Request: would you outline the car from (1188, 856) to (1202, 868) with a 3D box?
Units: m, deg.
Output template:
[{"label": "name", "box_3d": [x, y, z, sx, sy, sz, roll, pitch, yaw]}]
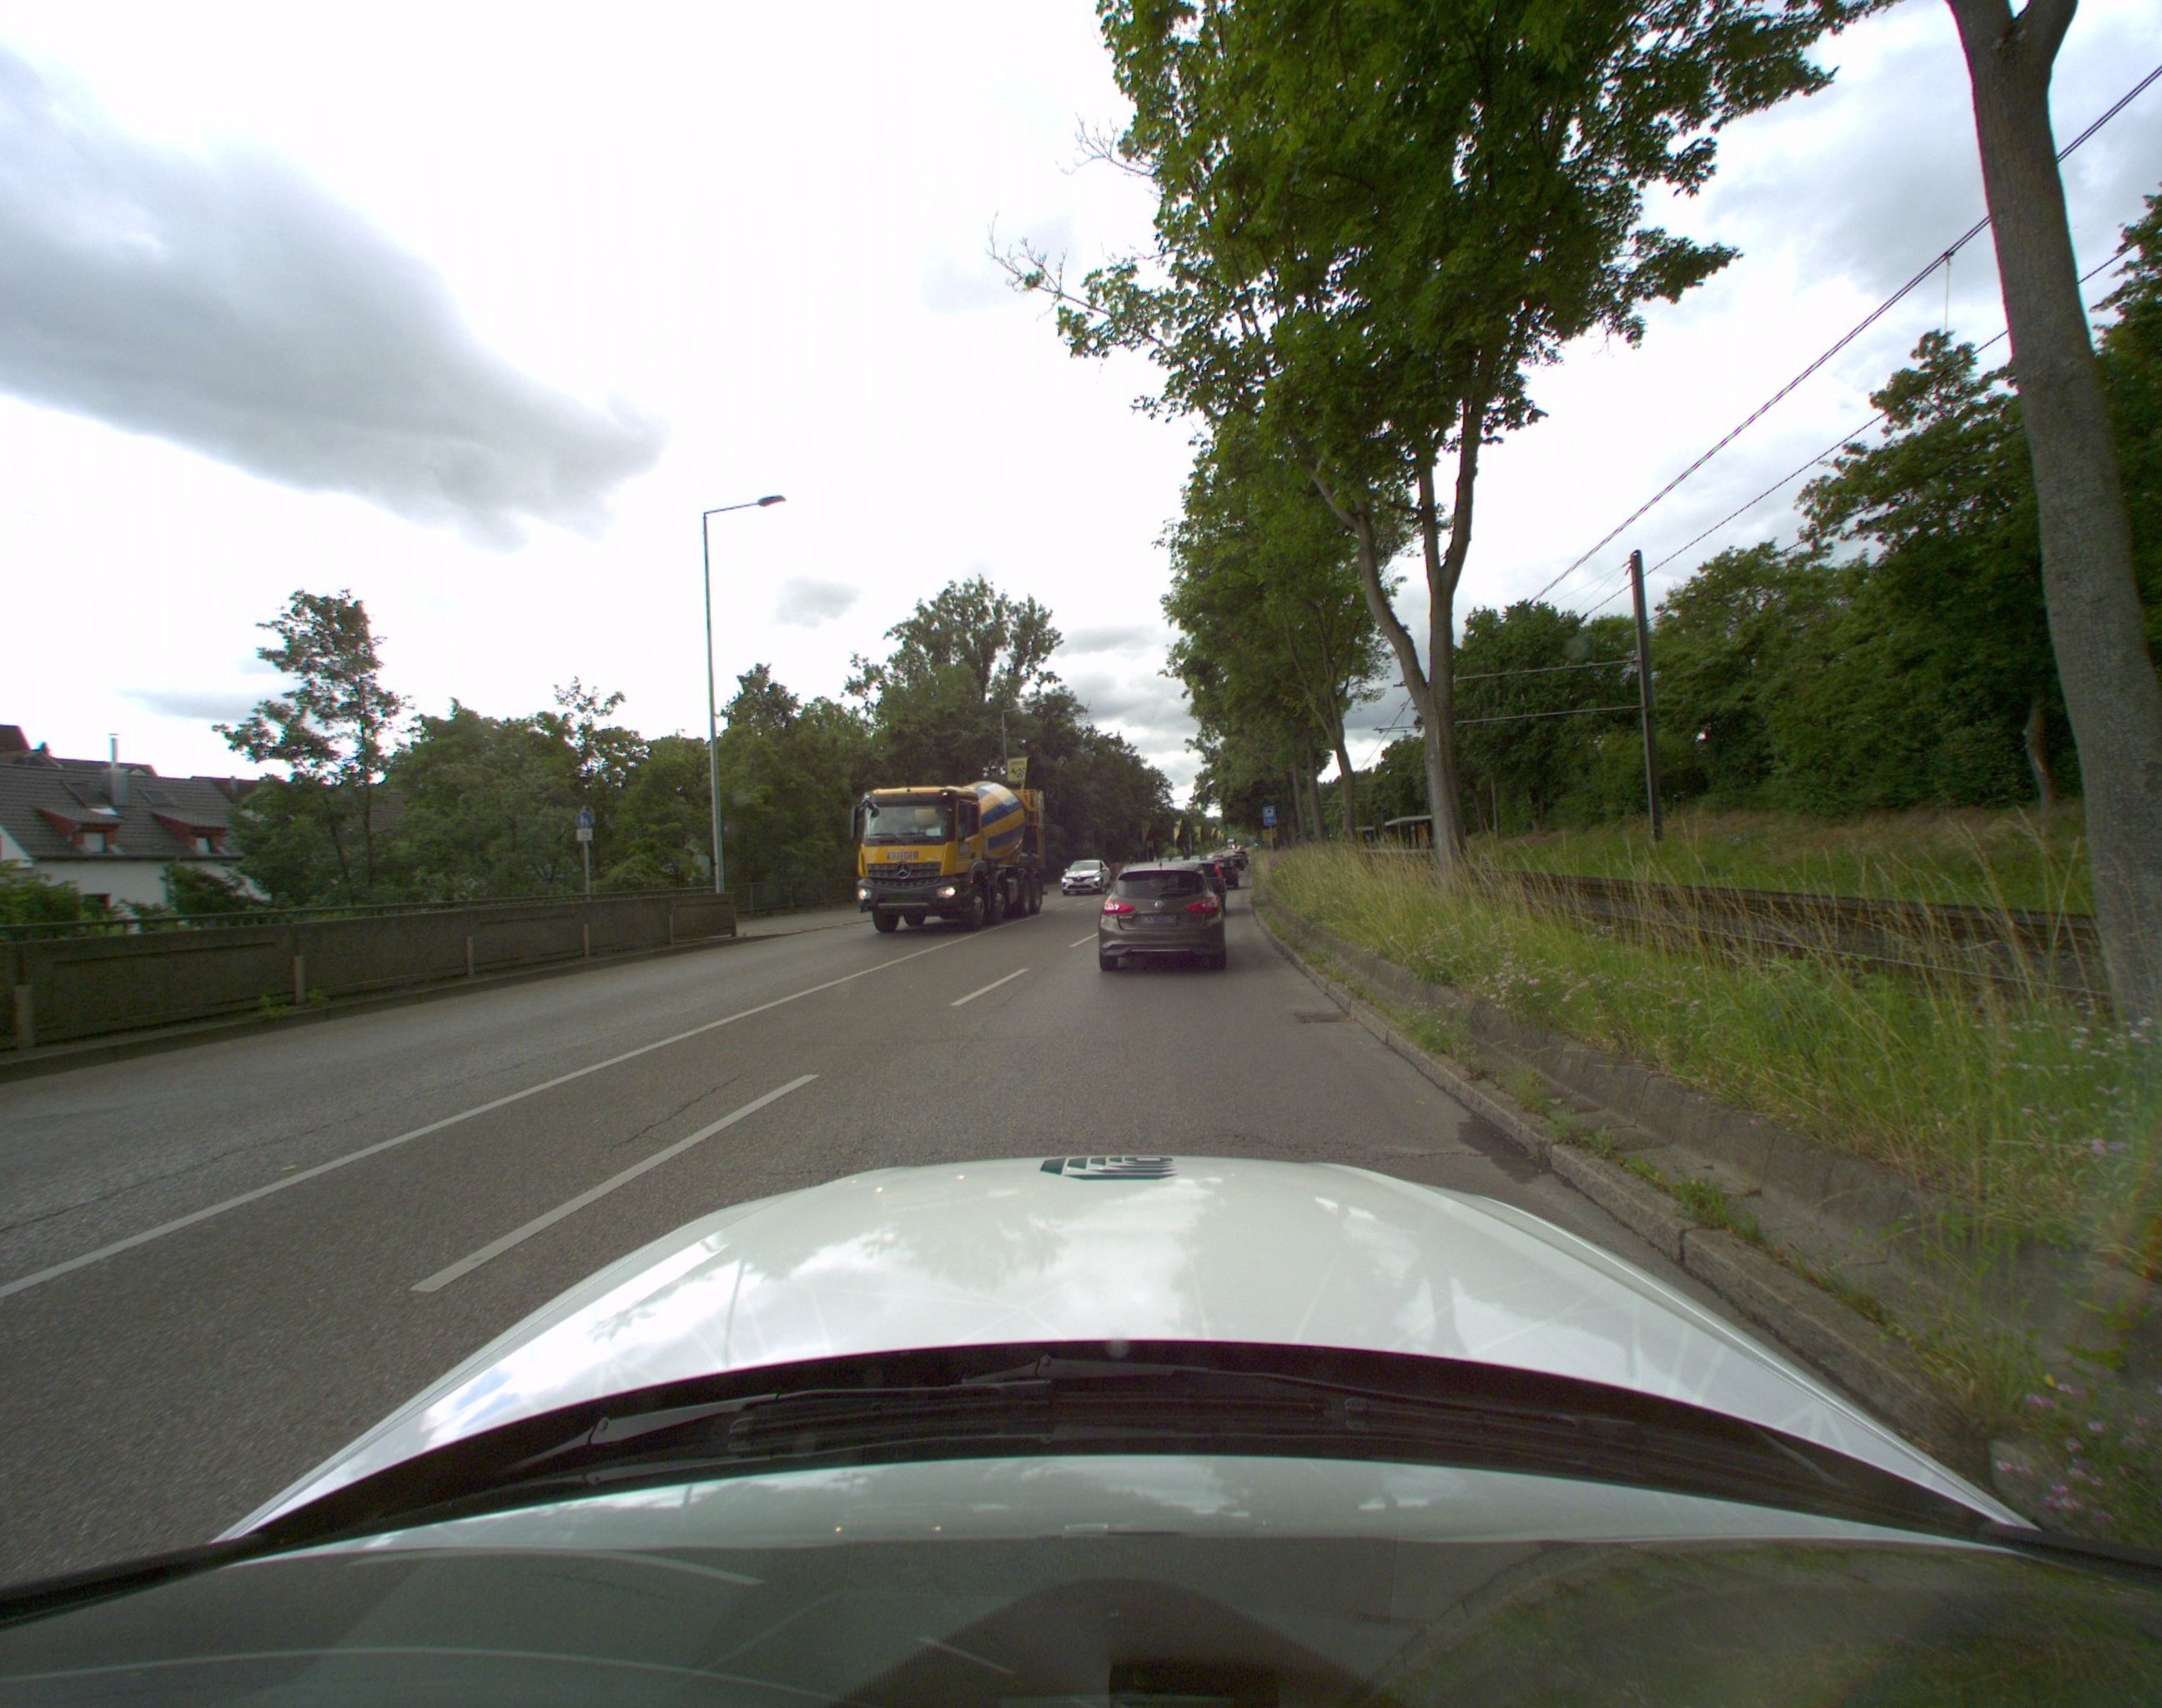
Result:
[{"label": "car", "box_3d": [16.090, 1.128, 114.869, 1.741, 1.420, 4.011, -3, -3, 11]}]

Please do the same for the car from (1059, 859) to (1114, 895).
[{"label": "car", "box_3d": [0.306, 1.018, 37.574, 1.755, 1.479, 4.012, -2, 0, 11]}]

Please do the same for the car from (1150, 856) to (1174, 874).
[{"label": "car", "box_3d": [7.506, 1.063, 75.150, 1.710, 1.442, 4.012, -3, -3, 11]}]

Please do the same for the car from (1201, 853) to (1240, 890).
[{"label": "car", "box_3d": [6.444, 0.788, 37.913, 1.569, 1.538, 4.009, -3, -1, 8]}]

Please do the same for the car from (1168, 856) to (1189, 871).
[{"label": "car", "box_3d": [10.598, 0.993, 88.529, 1.805, 1.462, 4.014, -3, -1, 13]}]

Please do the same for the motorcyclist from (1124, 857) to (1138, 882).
[{"label": "motorcyclist", "box_3d": [3.103, 0.952, 50.542, 0.739, 1.539, 0.793, -2, -1, 13]}]

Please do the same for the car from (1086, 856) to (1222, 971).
[{"label": "car", "box_3d": [1.173, 0.850, 12.762, 1.765, 1.494, 4.006, -1, -2, 6]}]

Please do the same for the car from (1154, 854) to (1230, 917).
[{"label": "car", "box_3d": [3.030, 0.867, 22.970, 1.884, 1.574, 4.005, -2, -2, 5]}]

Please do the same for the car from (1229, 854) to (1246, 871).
[{"label": "car", "box_3d": [16.917, 0.922, 88.064, 1.707, 1.693, 4.011, -3, -3, 11]}]

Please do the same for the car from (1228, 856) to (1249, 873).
[{"label": "car", "box_3d": [14.268, 0.958, 73.570, 1.793, 1.540, 4.013, -1, -1, 12]}]

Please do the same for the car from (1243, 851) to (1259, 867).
[{"label": "car", "box_3d": [22.167, 0.625, 105.999, 1.878, 2.014, 4.013, -3, -1, 12]}]

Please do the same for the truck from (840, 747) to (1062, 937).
[{"label": "truck", "box_3d": [-2.905, -0.205, 22.239, 2.638, 3.939, 10.139, -2, -1, 10]}]

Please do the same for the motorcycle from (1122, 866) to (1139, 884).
[{"label": "motorcycle", "box_3d": [3.091, 1.269, 50.513, 0.739, 1.033, 1.895, -2, 0, 13]}]

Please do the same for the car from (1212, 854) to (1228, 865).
[{"label": "car", "box_3d": [19.158, 0.781, 111.951, 1.839, 1.486, 4.436, -3, -2, 13]}]

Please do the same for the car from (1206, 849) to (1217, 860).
[{"label": "car", "box_3d": [24.120, 0.078, 150.270, 1.707, 1.693, 3.736, -3, -3, 11]}]
